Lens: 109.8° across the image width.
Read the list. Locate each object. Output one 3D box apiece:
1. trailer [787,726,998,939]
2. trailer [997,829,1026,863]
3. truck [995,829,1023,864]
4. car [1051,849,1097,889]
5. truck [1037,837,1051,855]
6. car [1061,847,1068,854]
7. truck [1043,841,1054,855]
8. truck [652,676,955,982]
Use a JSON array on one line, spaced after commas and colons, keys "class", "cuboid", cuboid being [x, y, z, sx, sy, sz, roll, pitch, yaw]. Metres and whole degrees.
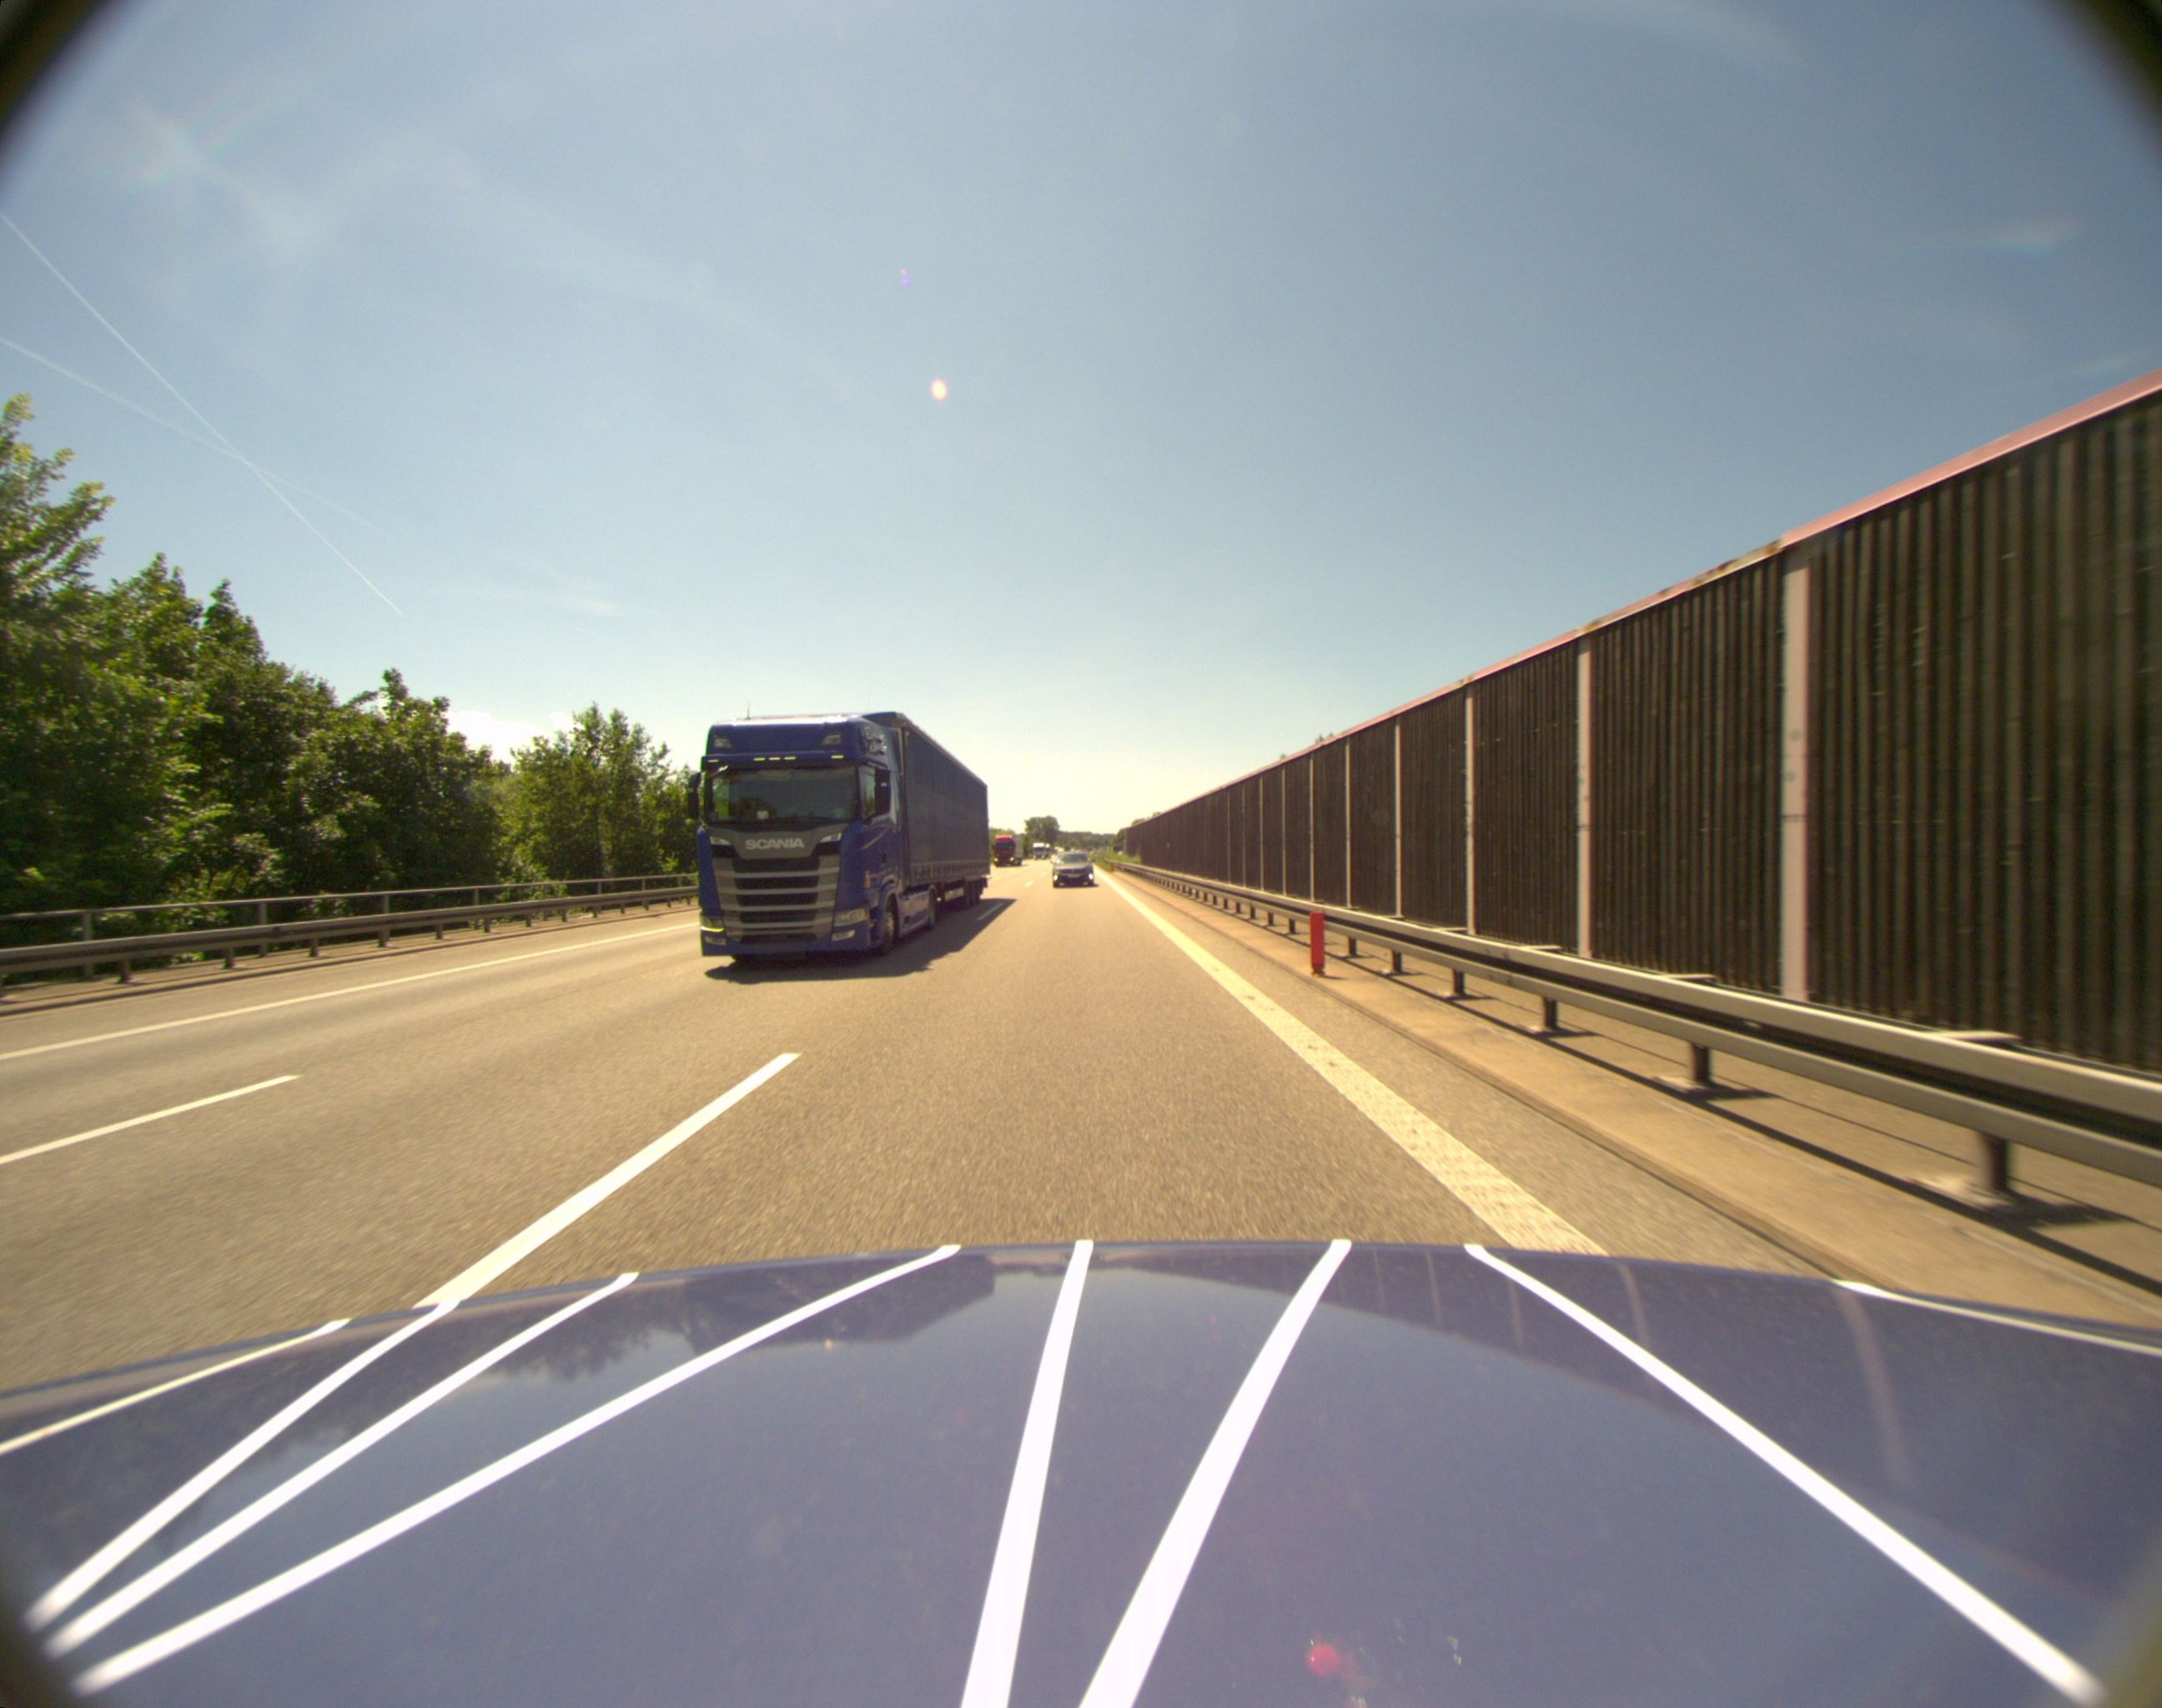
[{"class": "trailer", "cuboid": [-4.386, -0.476, 21.067, 2.707, 4.094, 12.129, -2, 1, 0]}, {"class": "trailer", "cuboid": [-9.109, -1.031, 100.922, 2.803, 4.094, 12.297, -2, 1, -1]}, {"class": "truck", "cuboid": [-9.001, -0.957, 96.288, 2.803, 4.094, 7.768, -2, 1, -1]}, {"class": "car", "cuboid": [-0.348, 0.624, 34.371, 1.885, 1.630, 5.007, -2, 0, -2]}, {"class": "truck", "cuboid": [-9.077, -1.998, 186.429, 2.992, 4.248, 9.821, -2, 1, -2]}, {"class": "car", "cuboid": [-4.911, -1.032, 222.008, 1.999, 2.002, 3.999, -2, 1, -2]}, {"class": "truck", "cuboid": [-9.060, -1.697, 214.807, 2.743, 3.844, 12.463, -2, 1, -2]}, {"class": "truck", "cuboid": [-4.382, -0.365, 13.905, 2.707, 4.094, 6.990, -2, 1, 1]}]
